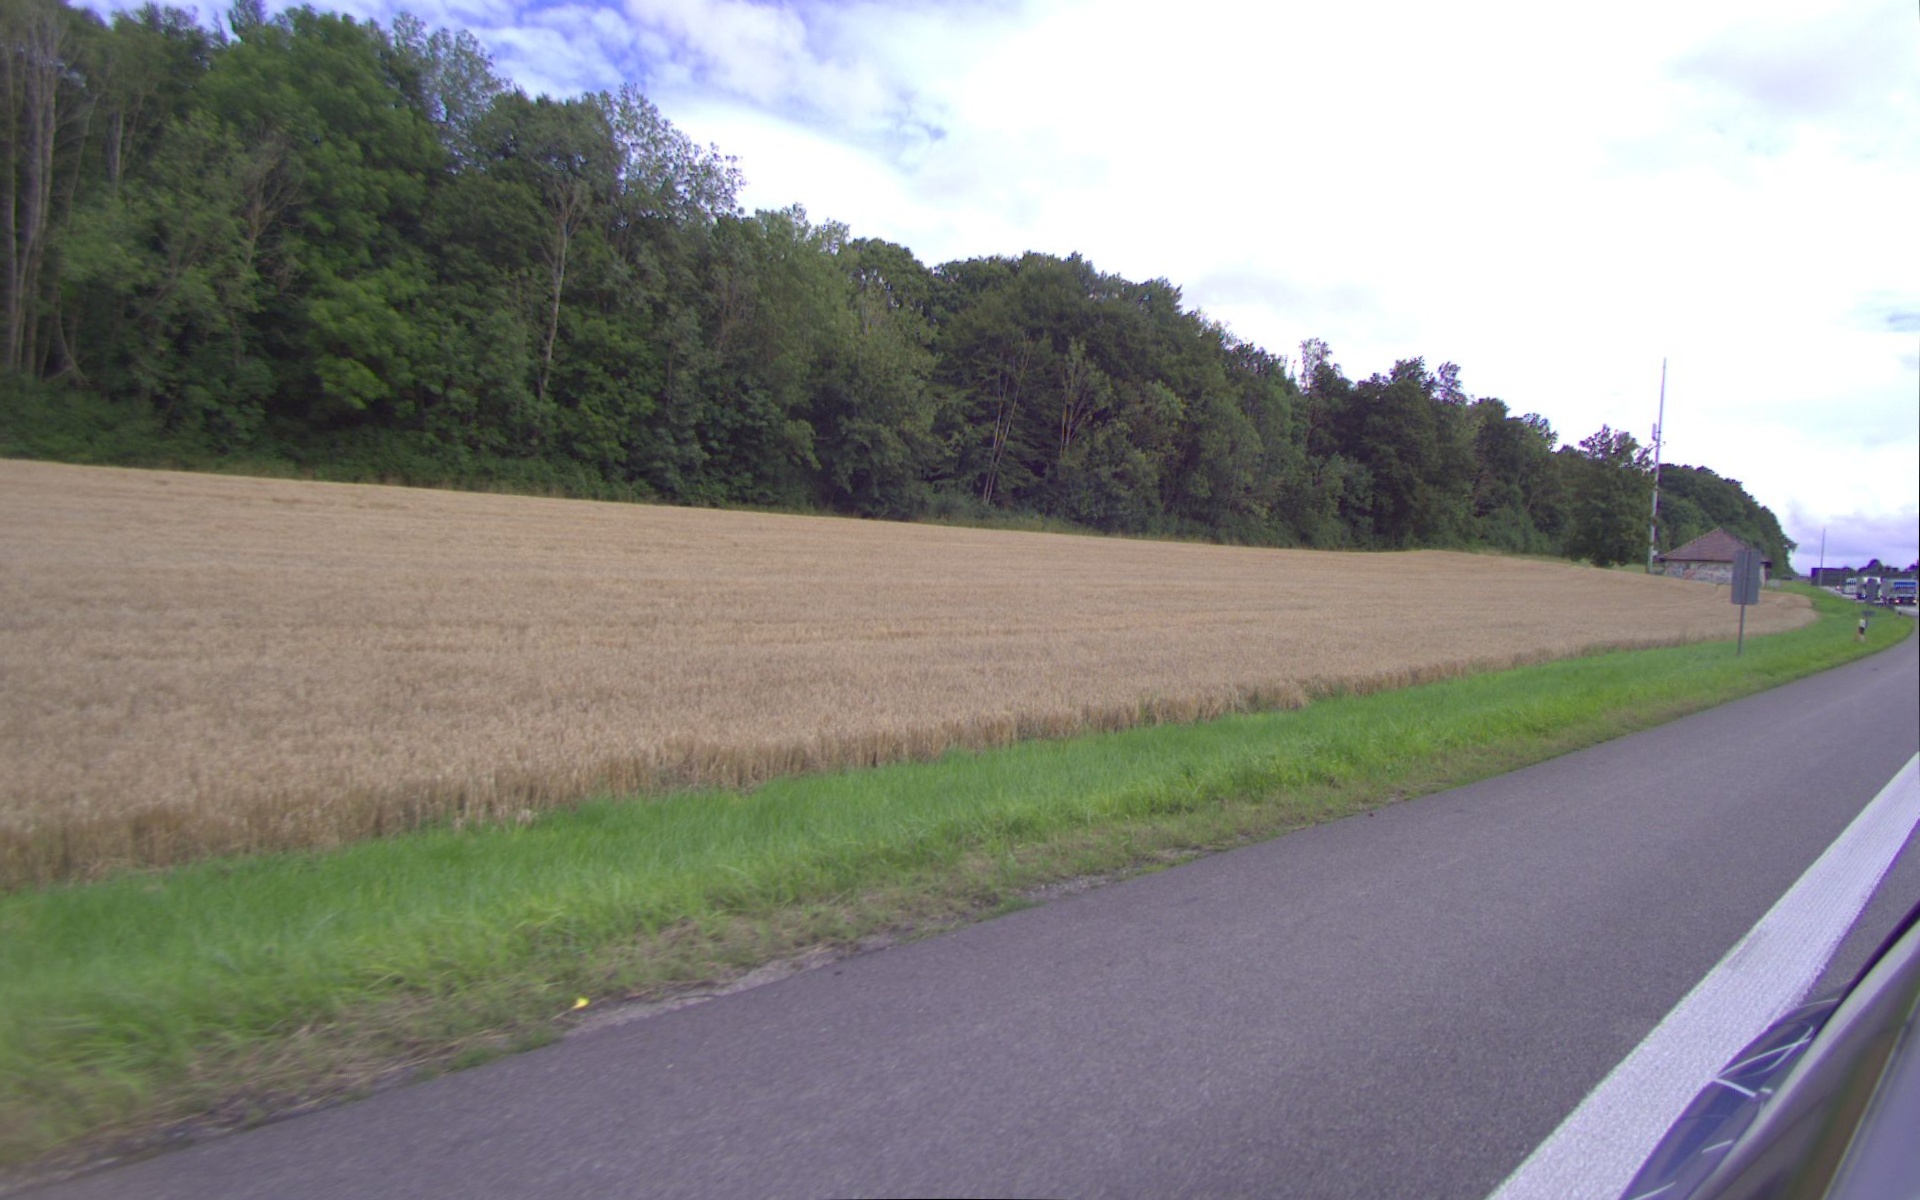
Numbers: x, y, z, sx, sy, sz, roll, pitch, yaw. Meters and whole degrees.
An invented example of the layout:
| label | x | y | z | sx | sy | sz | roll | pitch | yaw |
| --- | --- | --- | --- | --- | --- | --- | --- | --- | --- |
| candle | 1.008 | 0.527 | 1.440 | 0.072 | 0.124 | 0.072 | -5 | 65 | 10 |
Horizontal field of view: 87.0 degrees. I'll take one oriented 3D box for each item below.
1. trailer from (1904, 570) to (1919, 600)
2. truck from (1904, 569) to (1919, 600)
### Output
| label | x | y | z | sx | sy | sz | roll | pitch | yaw |
| --- | --- | --- | --- | --- | --- | --- | --- | --- | --- |
| trailer | 129.671 | -2.027 | 136.942 | 2.779 | 4.005 | 11.121 | 0 | 1 | 43 |
| truck | 125.910 | -1.997 | 132.876 | 2.788 | 4.021 | 5.847 | 0 | 0 | 43 |
